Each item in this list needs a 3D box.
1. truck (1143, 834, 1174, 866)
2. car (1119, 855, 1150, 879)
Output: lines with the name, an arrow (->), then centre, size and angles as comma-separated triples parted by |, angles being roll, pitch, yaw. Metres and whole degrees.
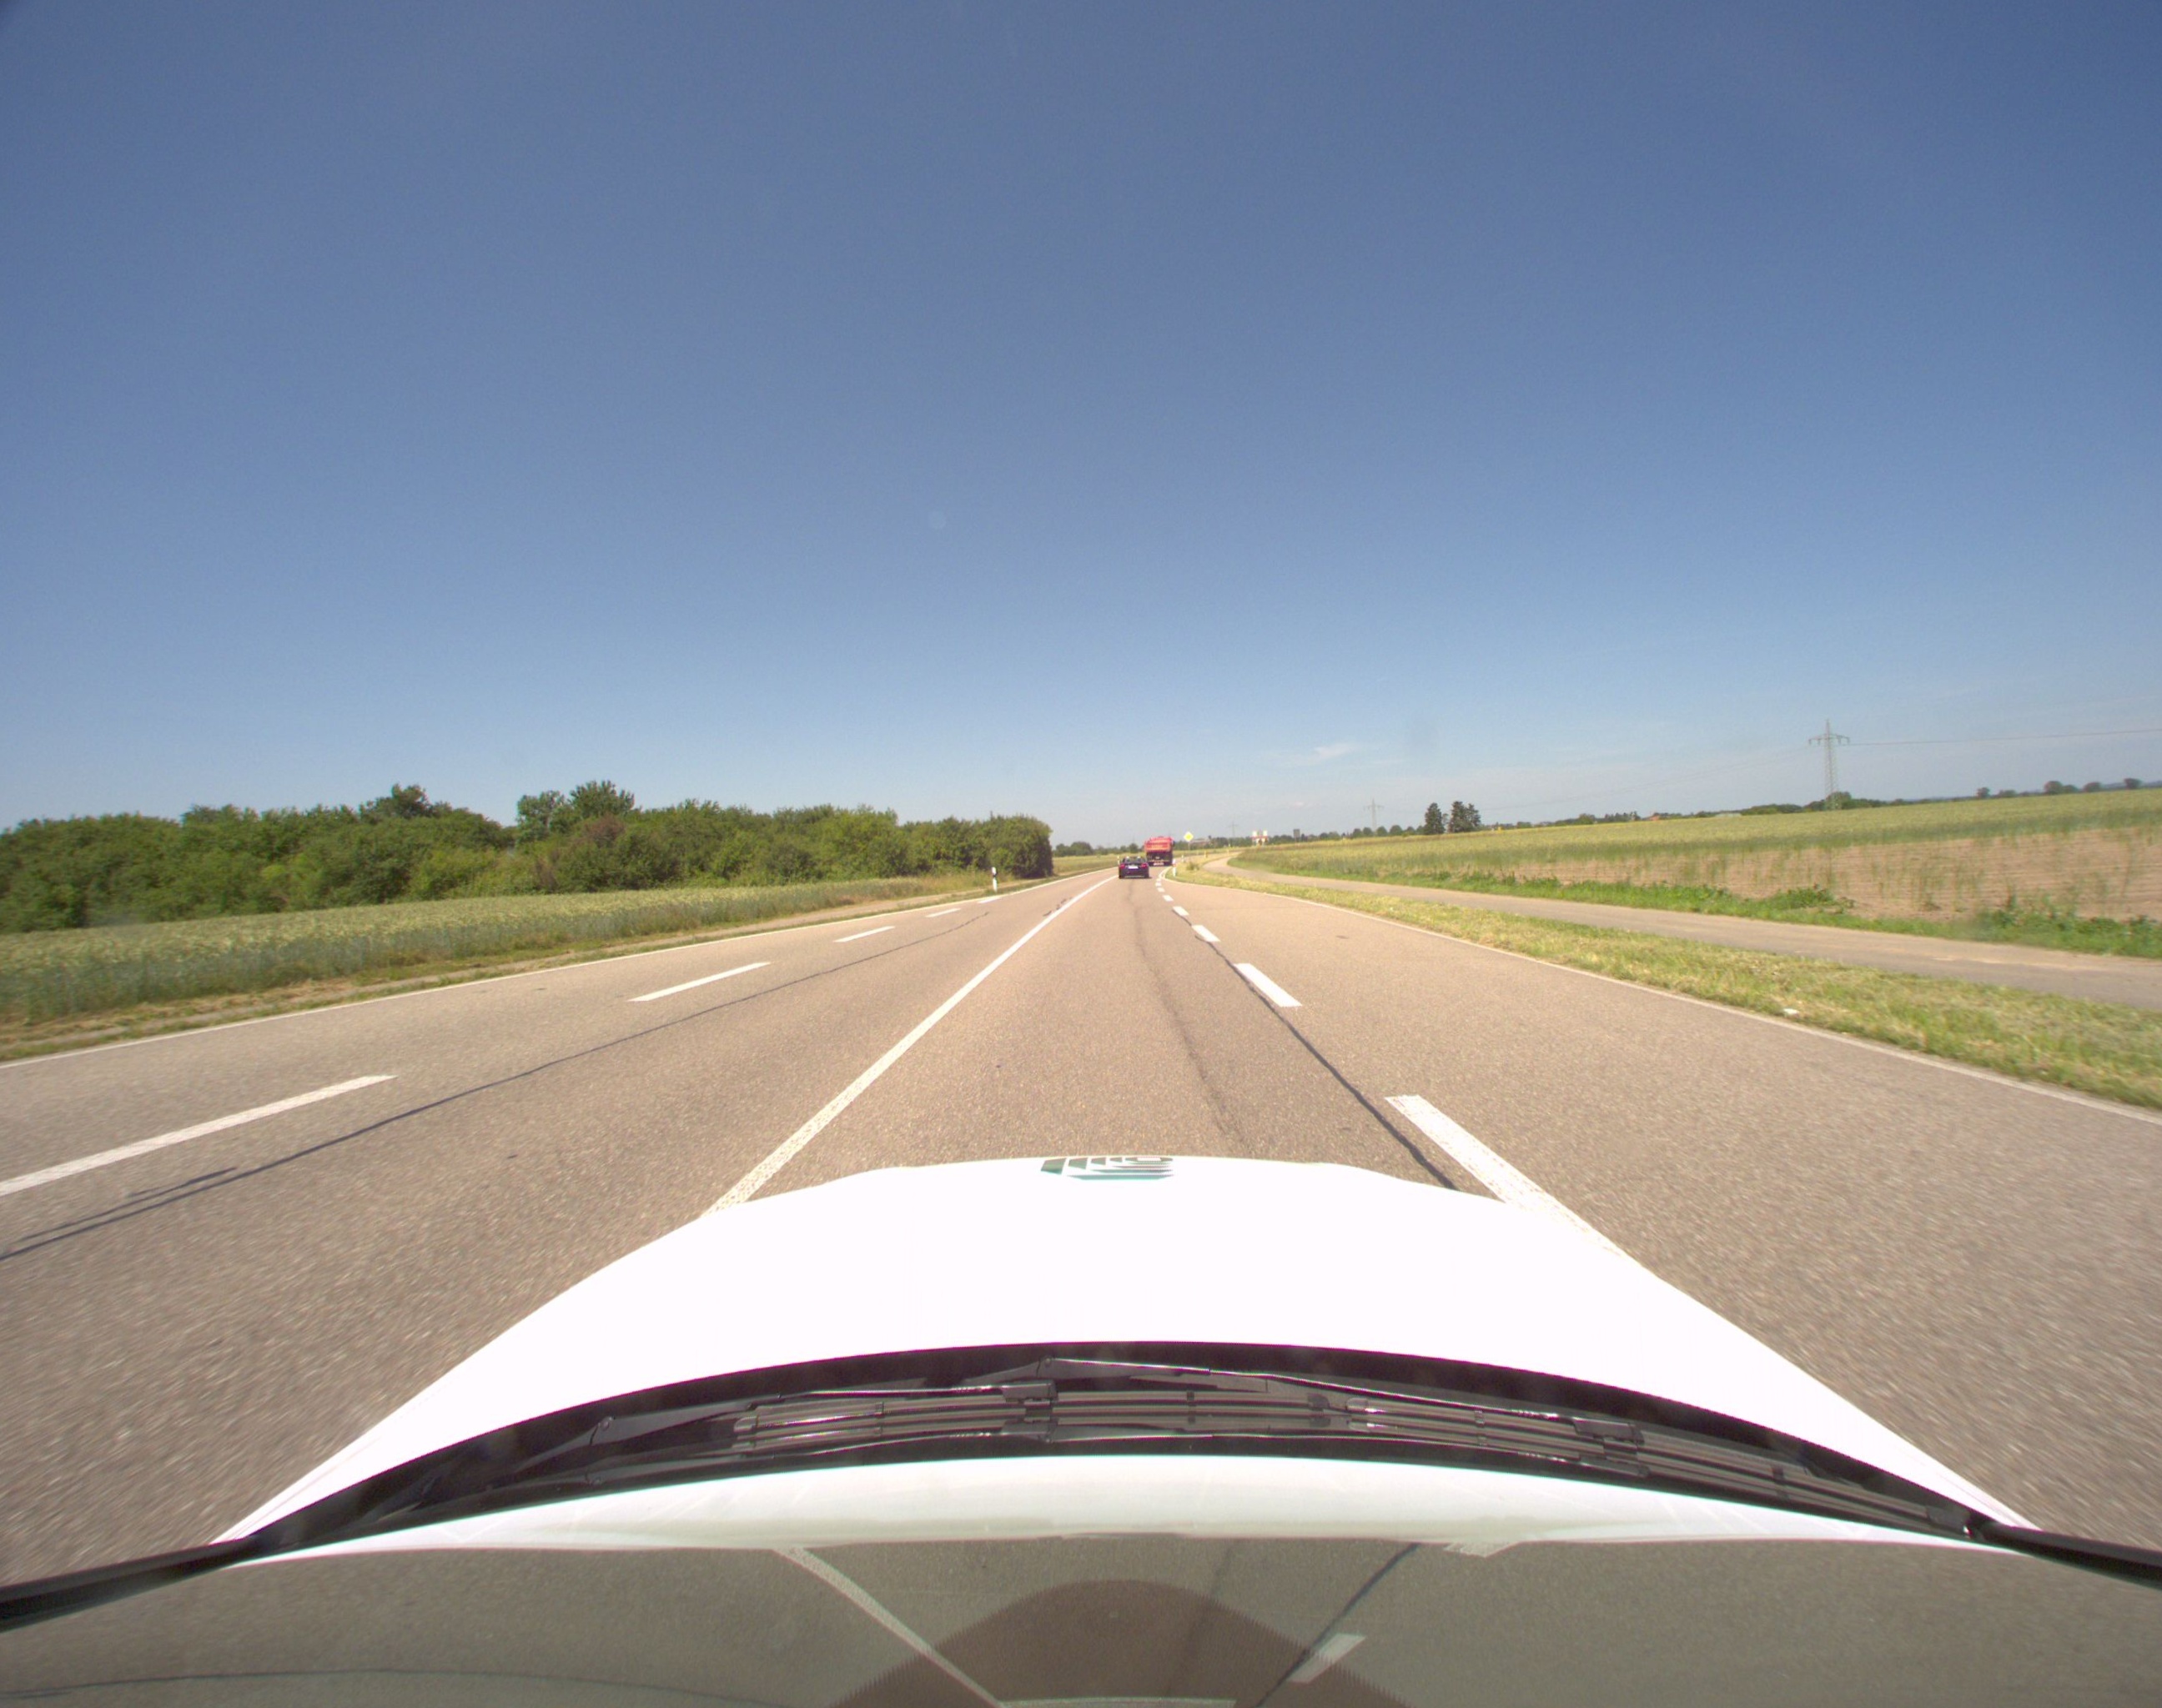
truck -> 8.190, -0.421, 85.548 | 2.922, 3.089, 7.210 | -2, 0, 7
car -> 3.205, 0.740, 48.237 | 1.735, 1.280, 4.006 | -2, 0, 5
